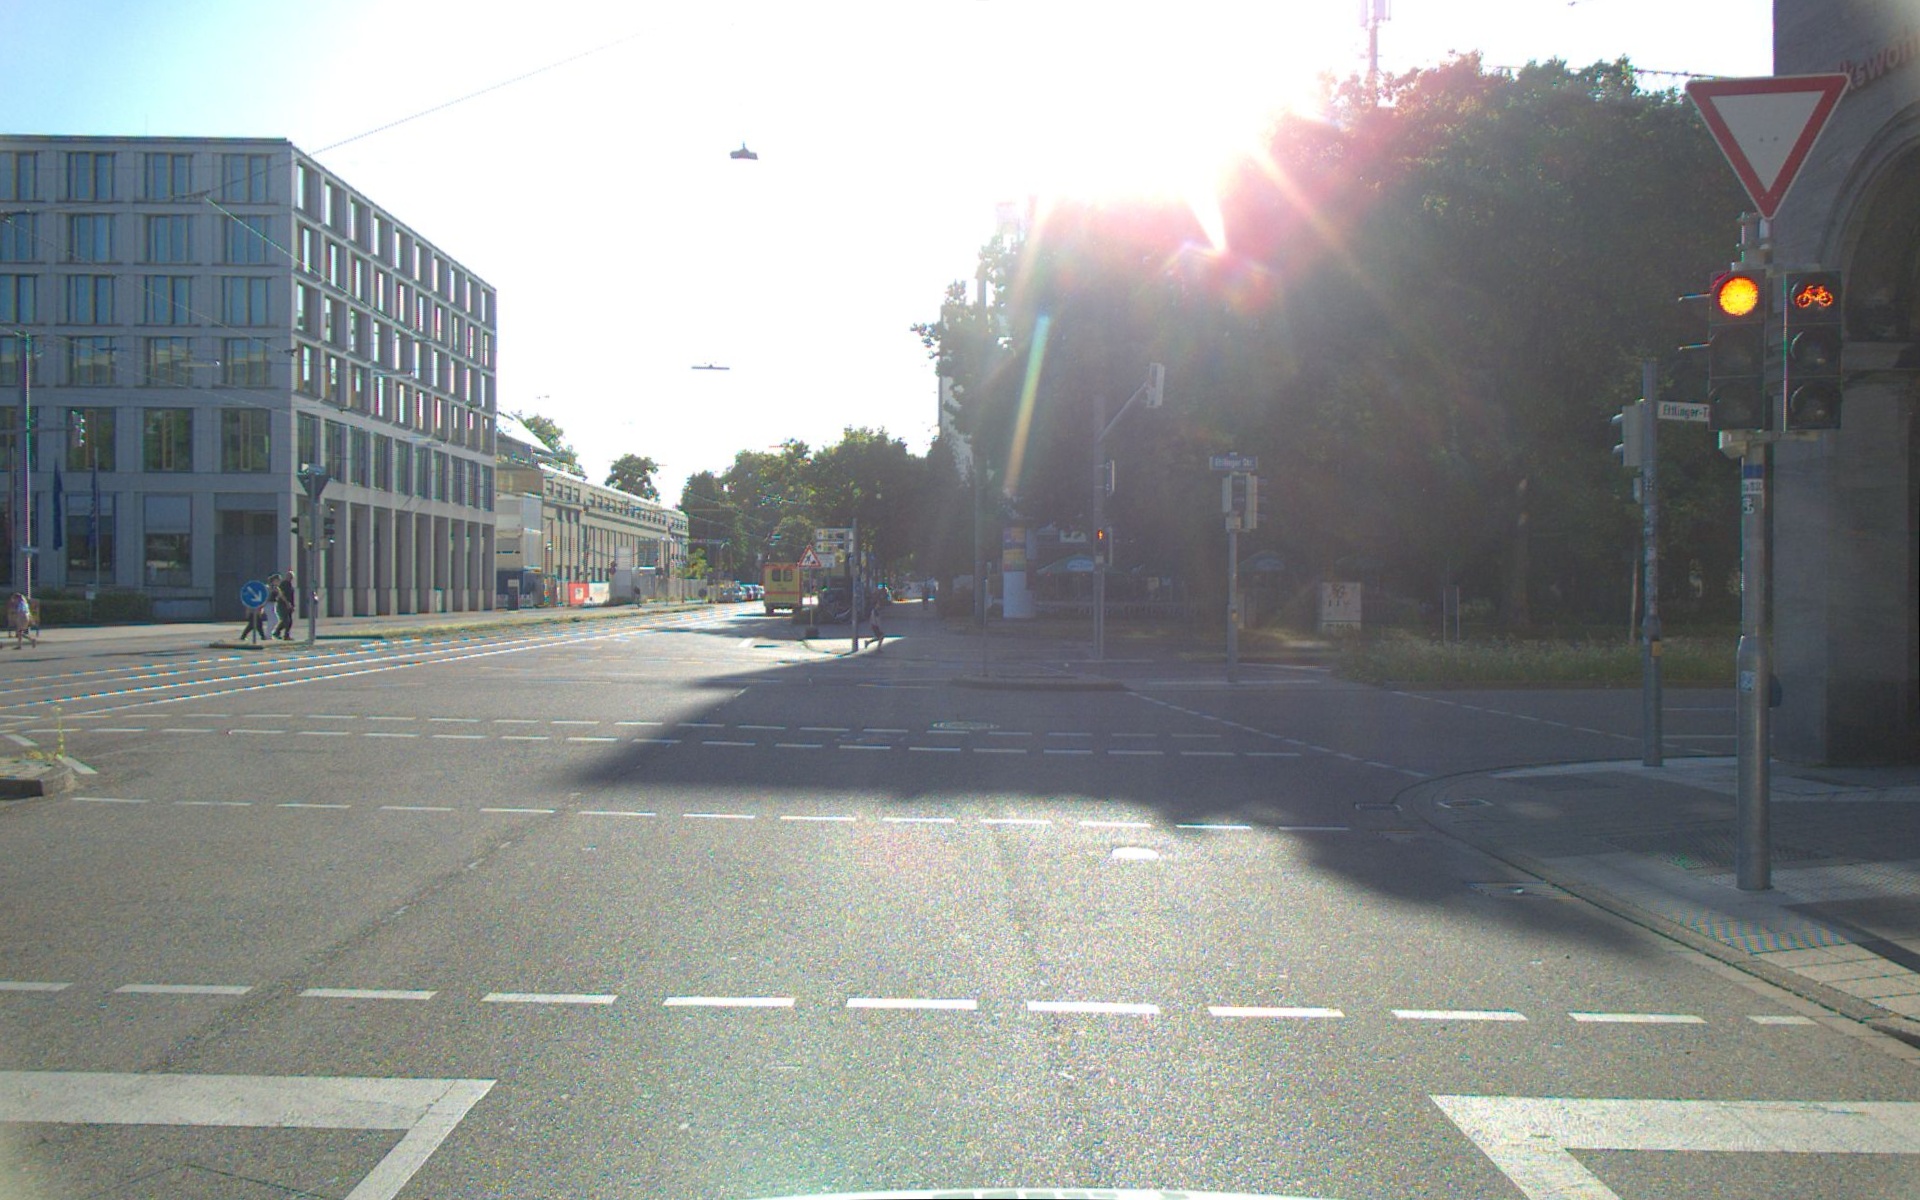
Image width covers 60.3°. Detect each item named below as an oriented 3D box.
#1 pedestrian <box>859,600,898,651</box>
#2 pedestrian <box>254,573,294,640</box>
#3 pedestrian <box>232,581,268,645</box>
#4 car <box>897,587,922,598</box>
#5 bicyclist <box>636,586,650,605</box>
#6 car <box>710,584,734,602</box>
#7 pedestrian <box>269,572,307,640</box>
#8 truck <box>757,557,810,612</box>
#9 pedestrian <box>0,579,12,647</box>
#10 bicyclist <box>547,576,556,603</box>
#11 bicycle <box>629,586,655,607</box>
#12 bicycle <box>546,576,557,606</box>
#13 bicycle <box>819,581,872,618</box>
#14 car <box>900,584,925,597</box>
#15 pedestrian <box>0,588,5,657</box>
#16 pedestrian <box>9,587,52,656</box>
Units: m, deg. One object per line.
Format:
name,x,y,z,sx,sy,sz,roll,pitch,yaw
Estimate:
pedestrian,-2.139,0.664,43.602,0.973,1.340,0.767,0,0,2
pedestrian,-17.392,0.167,41.968,0.777,1.673,0.620,0,0,-5
pedestrian,-18.852,0.334,43.935,0.680,1.673,0.621,0,0,0
car,-6.420,-0.925,211.092,3.153,1.285,1.372,1,0,-2
bicyclist,-23.807,-0.332,124.240,0.675,1.351,1.001,1,0,15
car,-22.439,-0.645,155.979,1.856,1.635,4.498,0,0,-3
pedestrian,-18.182,0.164,44.747,0.732,1.792,0.678,-1,-1,4
truck,-10.040,-0.873,94.695,2.662,3.068,6.485,0,0,-3
pedestrian,-26.083,0.349,44.479,0.723,1.835,0.716,0,0,4
bicyclist,-32.093,-0.814,129.914,0.559,2.059,0.761,0,0,-2
bicycle,-23.854,-0.236,124.168,0.675,1.538,2.946,1,0,15
bicycle,-32.095,-0.674,129.850,0.559,2.336,1.422,0,0,-2
bicycle,-5.611,-0.016,81.300,2.495,1.774,1.037,1,0,-1
car,-6.104,-1.189,213.352,3.152,1.616,1.445,1,0,-5
pedestrian,-25.669,0.595,43.376,0.852,1.835,0.664,0,0,4
pedestrian,-24.808,0.573,44.159,0.851,1.835,0.532,0,0,4
